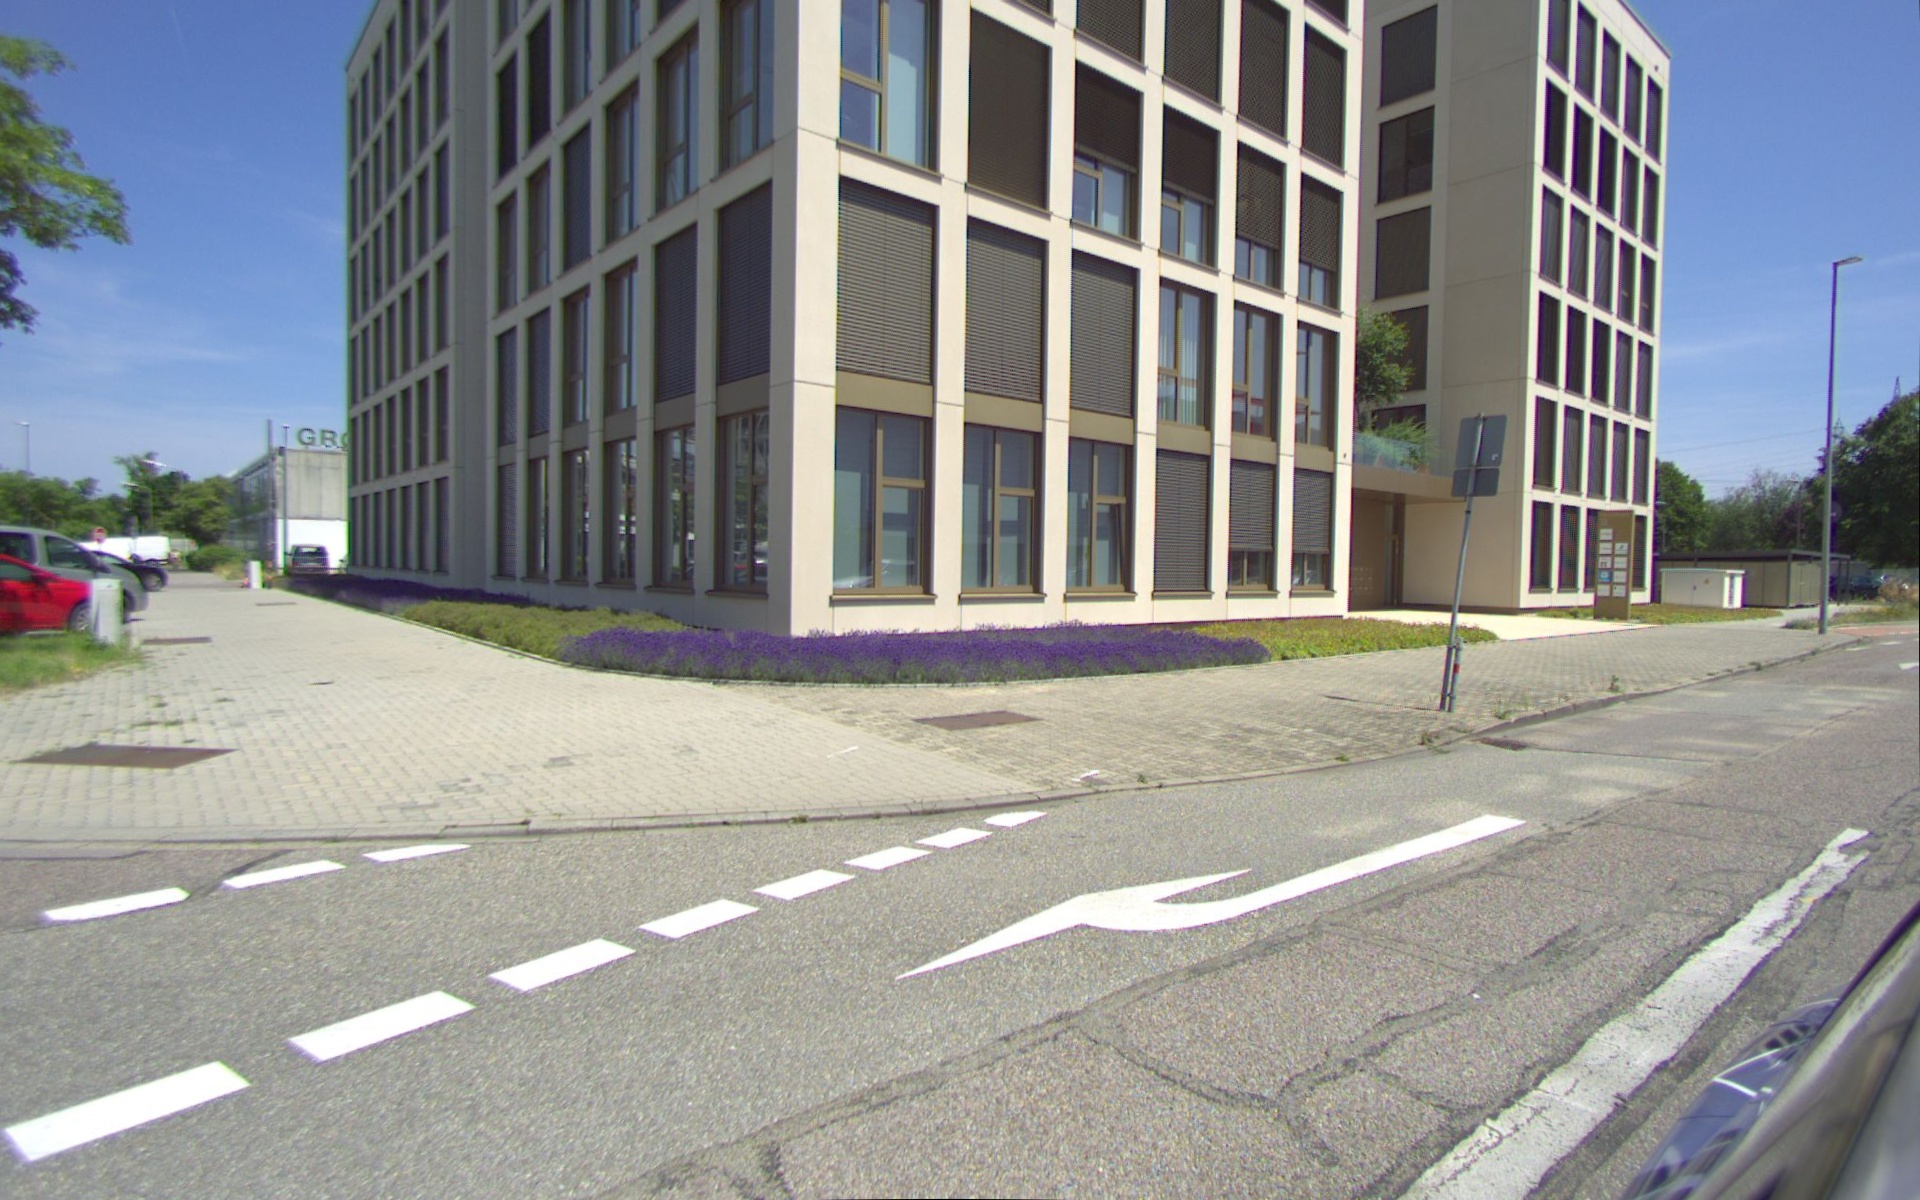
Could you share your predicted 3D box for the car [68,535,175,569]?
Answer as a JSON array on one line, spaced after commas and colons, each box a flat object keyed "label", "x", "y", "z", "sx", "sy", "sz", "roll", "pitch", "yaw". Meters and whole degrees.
[{"label": "car", "x": -67.584, "y": -3.866, "z": 81.786, "sx": 6.573, "sy": 2.552, "sz": 2.217, "roll": -1, "pitch": 0, "yaw": -38}]

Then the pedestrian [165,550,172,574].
[{"label": "pedestrian", "x": -54.314, "y": -2.610, "z": 69.457, "sx": 0.397, "sy": 1.578, "sz": 0.549, "roll": 0, "pitch": 2, "yaw": -39}]

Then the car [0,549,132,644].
[{"label": "car", "x": -15.439, "y": -0.066, "z": 15.619, "sx": 1.672, "sy": 1.449, "sz": 3.990, "roll": 1, "pitch": 3, "yaw": 10}]

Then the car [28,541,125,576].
[{"label": "car", "x": -55.121, "y": -2.563, "z": 63.253, "sx": 4.495, "sy": 2.039, "sz": 1.997, "roll": -1, "pitch": 1, "yaw": -40}]

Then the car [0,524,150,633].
[{"label": "car", "x": -17.830, "y": -0.406, "z": 18.486, "sx": 1.886, "sy": 1.910, "sz": 4.927, "roll": 1, "pitch": 1, "yaw": 5}]

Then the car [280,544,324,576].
[{"label": "car", "x": -37.974, "y": -2.265, "z": 58.371, "sx": 1.763, "sy": 1.749, "sz": 3.997, "roll": -1, "pitch": 1, "yaw": -38}]

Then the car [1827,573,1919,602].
[{"label": "car", "x": 53.684, "y": -0.757, "z": 59.588, "sx": 3.810, "sy": 1.571, "sz": 1.716, "roll": 2, "pitch": 2, "yaw": 36}]

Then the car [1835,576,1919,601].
[{"label": "car", "x": 55.245, "y": -0.708, "z": 60.833, "sx": 3.810, "sy": 1.411, "sz": 1.716, "roll": 2, "pitch": 2, "yaw": 36}]
